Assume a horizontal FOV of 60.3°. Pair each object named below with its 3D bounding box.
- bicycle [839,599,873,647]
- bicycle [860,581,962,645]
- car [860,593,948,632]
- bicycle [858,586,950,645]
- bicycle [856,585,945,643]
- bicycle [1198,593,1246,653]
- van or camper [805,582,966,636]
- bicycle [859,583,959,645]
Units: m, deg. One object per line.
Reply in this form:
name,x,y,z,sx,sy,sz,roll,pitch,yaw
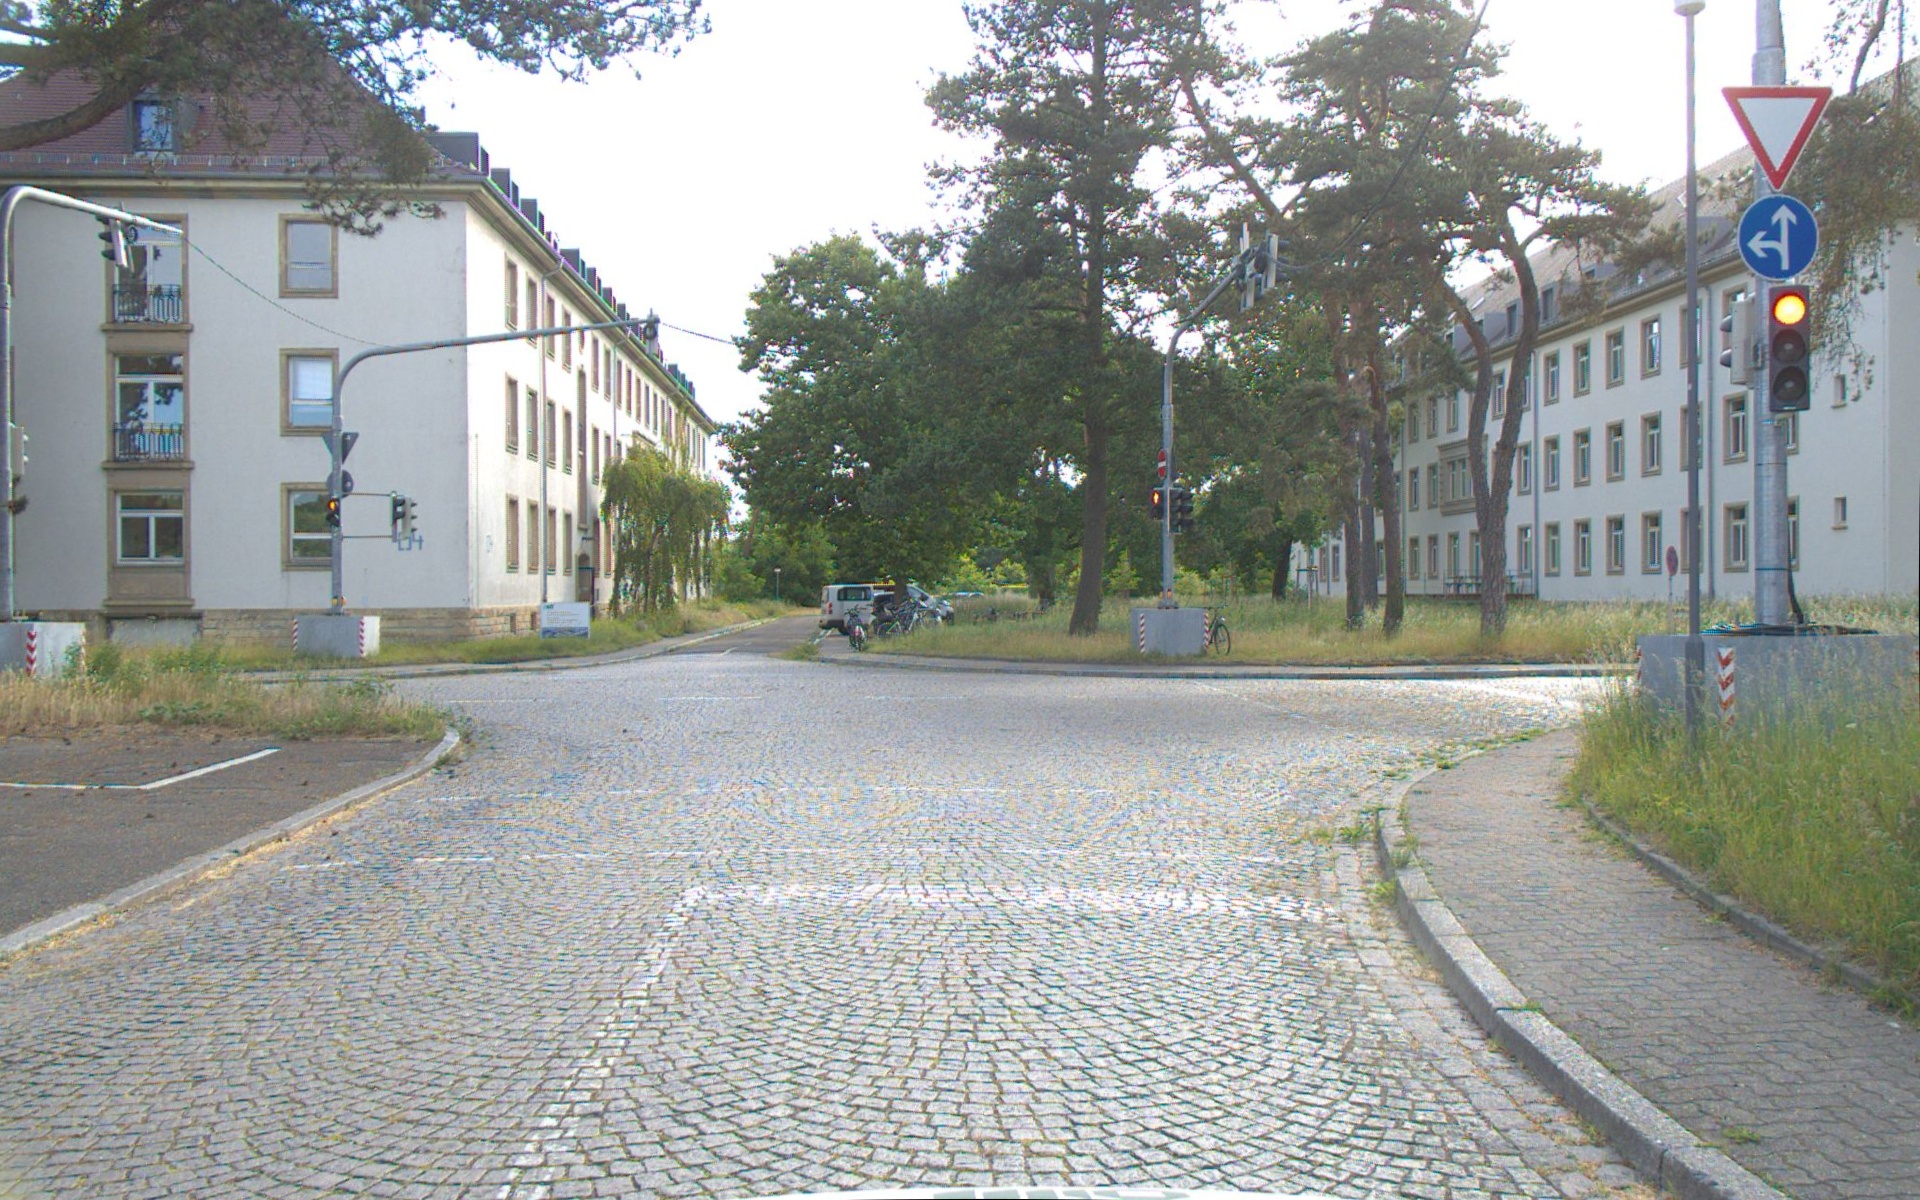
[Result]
bicycle,-2.611,0.558,41.771,0.711,1.127,2.461,-5,0,-2
bicycle,-1.372,0.356,46.129,2.724,1.723,1.118,0,0,-9
car,-2.062,0.450,60.498,3.080,1.378,1.617,0,0,-9
bicycle,-1.708,0.468,50.874,2.718,1.723,1.120,2,0,1
bicycle,-1.863,0.450,52.205,2.720,1.723,1.120,2,0,-2
bicycle,5.481,0.461,34.725,0.709,1.189,2.738,1,0,3
van or camper,-2.873,0.322,64.031,5.936,1.983,1.991,-1,0,-17
bicycle,-1.462,0.380,47.319,2.725,1.723,1.117,0,0,-11
